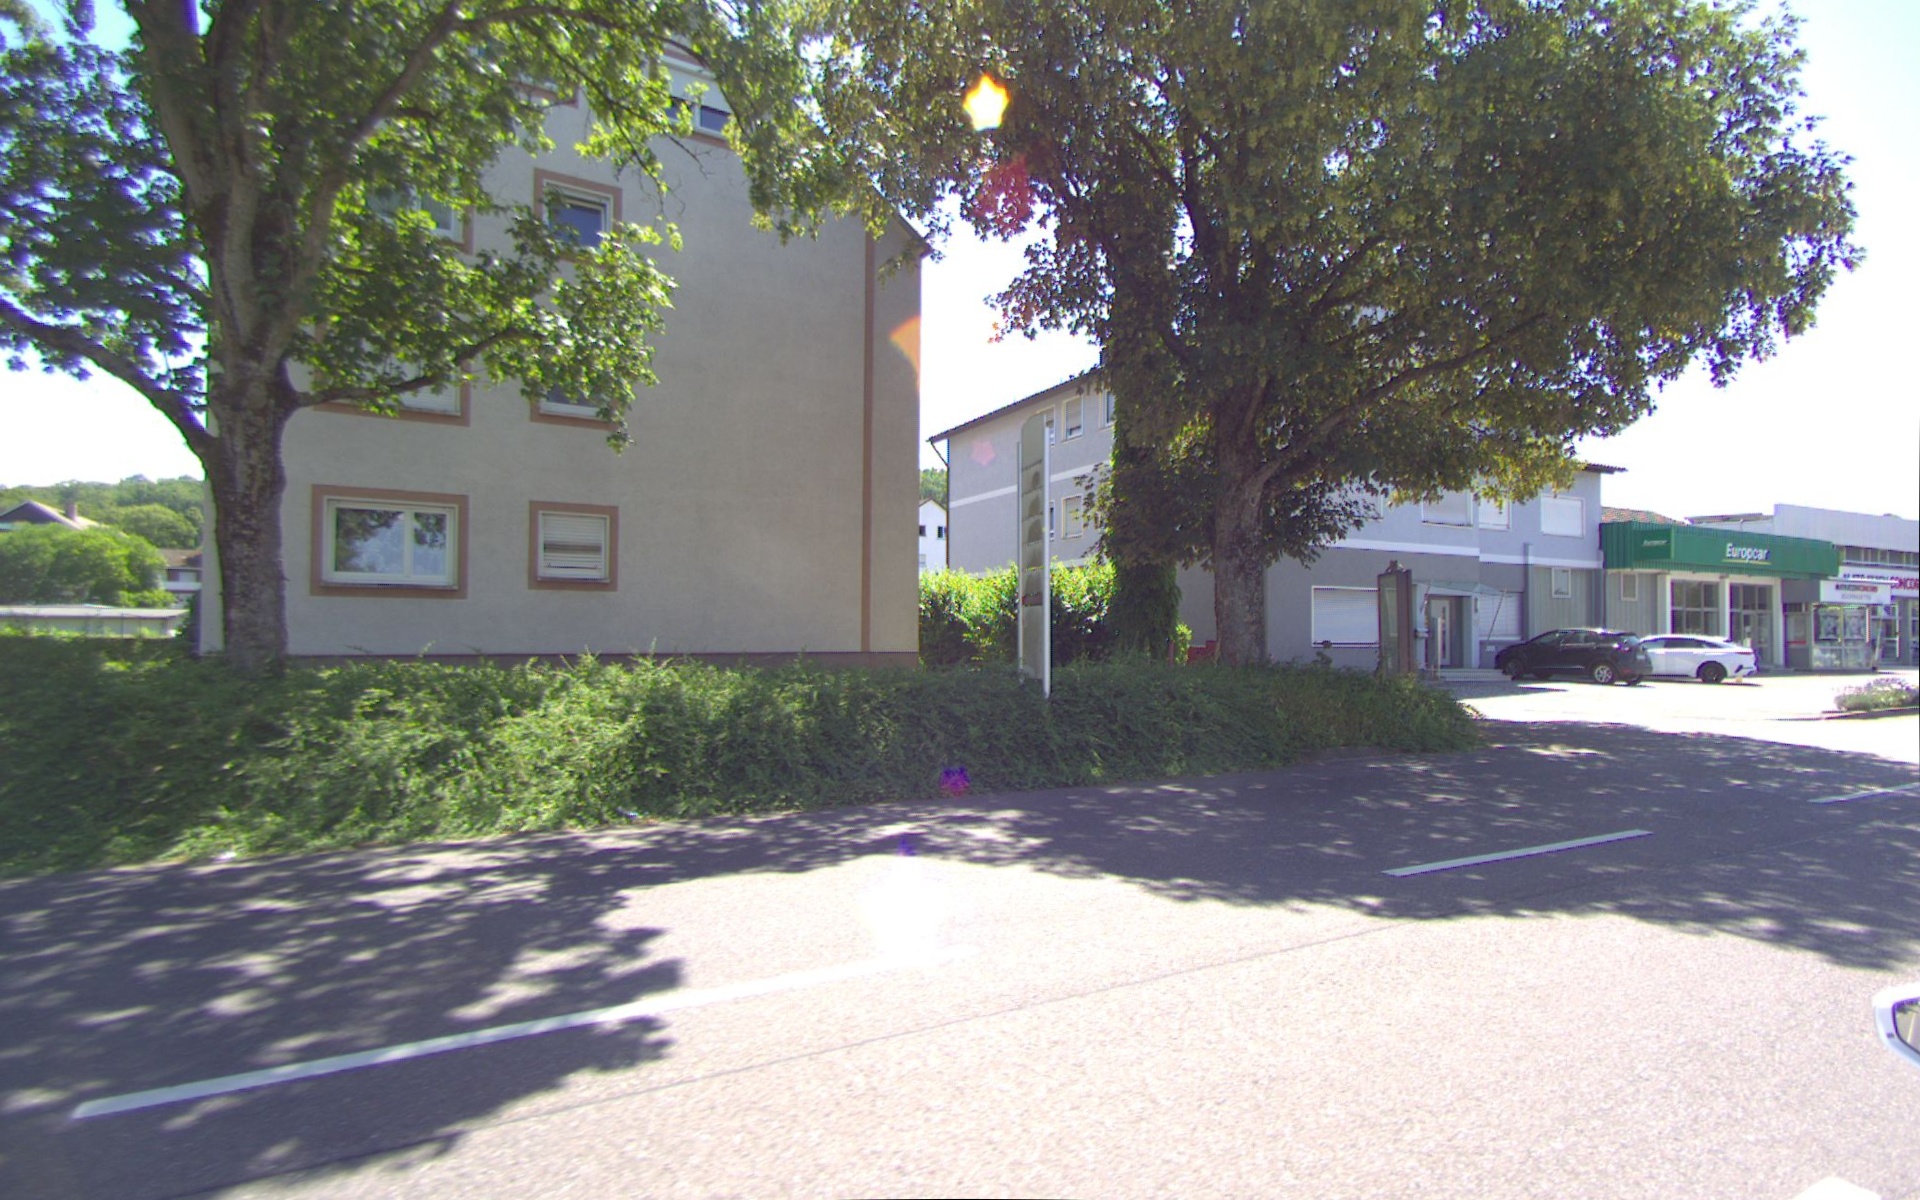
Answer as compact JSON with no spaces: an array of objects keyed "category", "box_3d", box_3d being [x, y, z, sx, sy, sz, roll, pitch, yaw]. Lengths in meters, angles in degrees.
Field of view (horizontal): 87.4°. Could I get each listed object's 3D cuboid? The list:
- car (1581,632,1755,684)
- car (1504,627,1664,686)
[{"category":"car","box_3d":[21.815,1.749,31.048,4.287,1.458,1.932,0,-2,39]},{"category":"car","box_3d":[18.280,1.622,29.550,1.946,1.585,3.544,2,-2,-29]}]
